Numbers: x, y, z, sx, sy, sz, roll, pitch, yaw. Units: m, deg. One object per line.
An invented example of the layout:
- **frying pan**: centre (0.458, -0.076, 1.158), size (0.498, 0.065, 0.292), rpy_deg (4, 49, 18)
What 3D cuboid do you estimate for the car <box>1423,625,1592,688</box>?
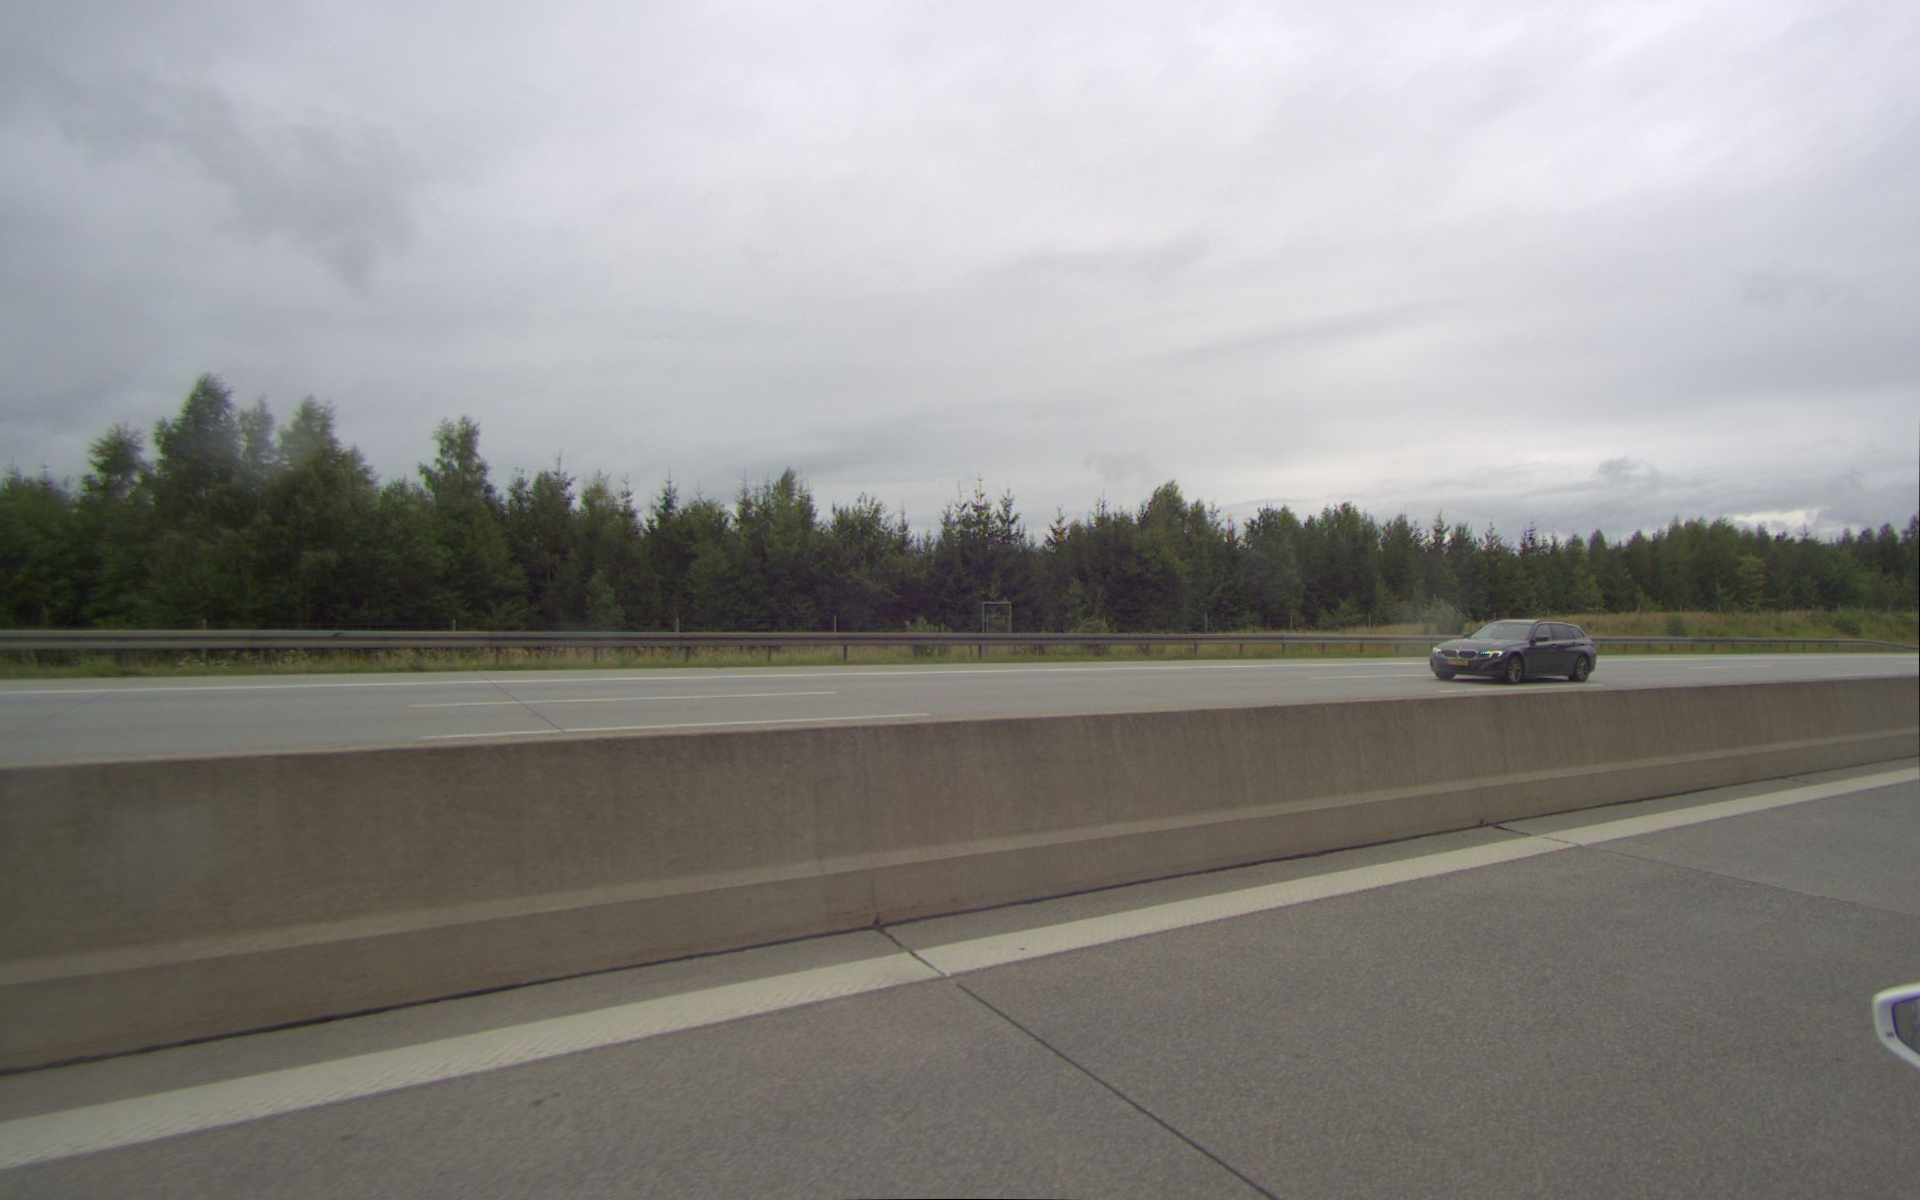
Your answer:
- **car**: centre (12.813, 1.266, 23.464), size (3.910, 1.249, 1.758), rpy_deg (0, 1, -32)
